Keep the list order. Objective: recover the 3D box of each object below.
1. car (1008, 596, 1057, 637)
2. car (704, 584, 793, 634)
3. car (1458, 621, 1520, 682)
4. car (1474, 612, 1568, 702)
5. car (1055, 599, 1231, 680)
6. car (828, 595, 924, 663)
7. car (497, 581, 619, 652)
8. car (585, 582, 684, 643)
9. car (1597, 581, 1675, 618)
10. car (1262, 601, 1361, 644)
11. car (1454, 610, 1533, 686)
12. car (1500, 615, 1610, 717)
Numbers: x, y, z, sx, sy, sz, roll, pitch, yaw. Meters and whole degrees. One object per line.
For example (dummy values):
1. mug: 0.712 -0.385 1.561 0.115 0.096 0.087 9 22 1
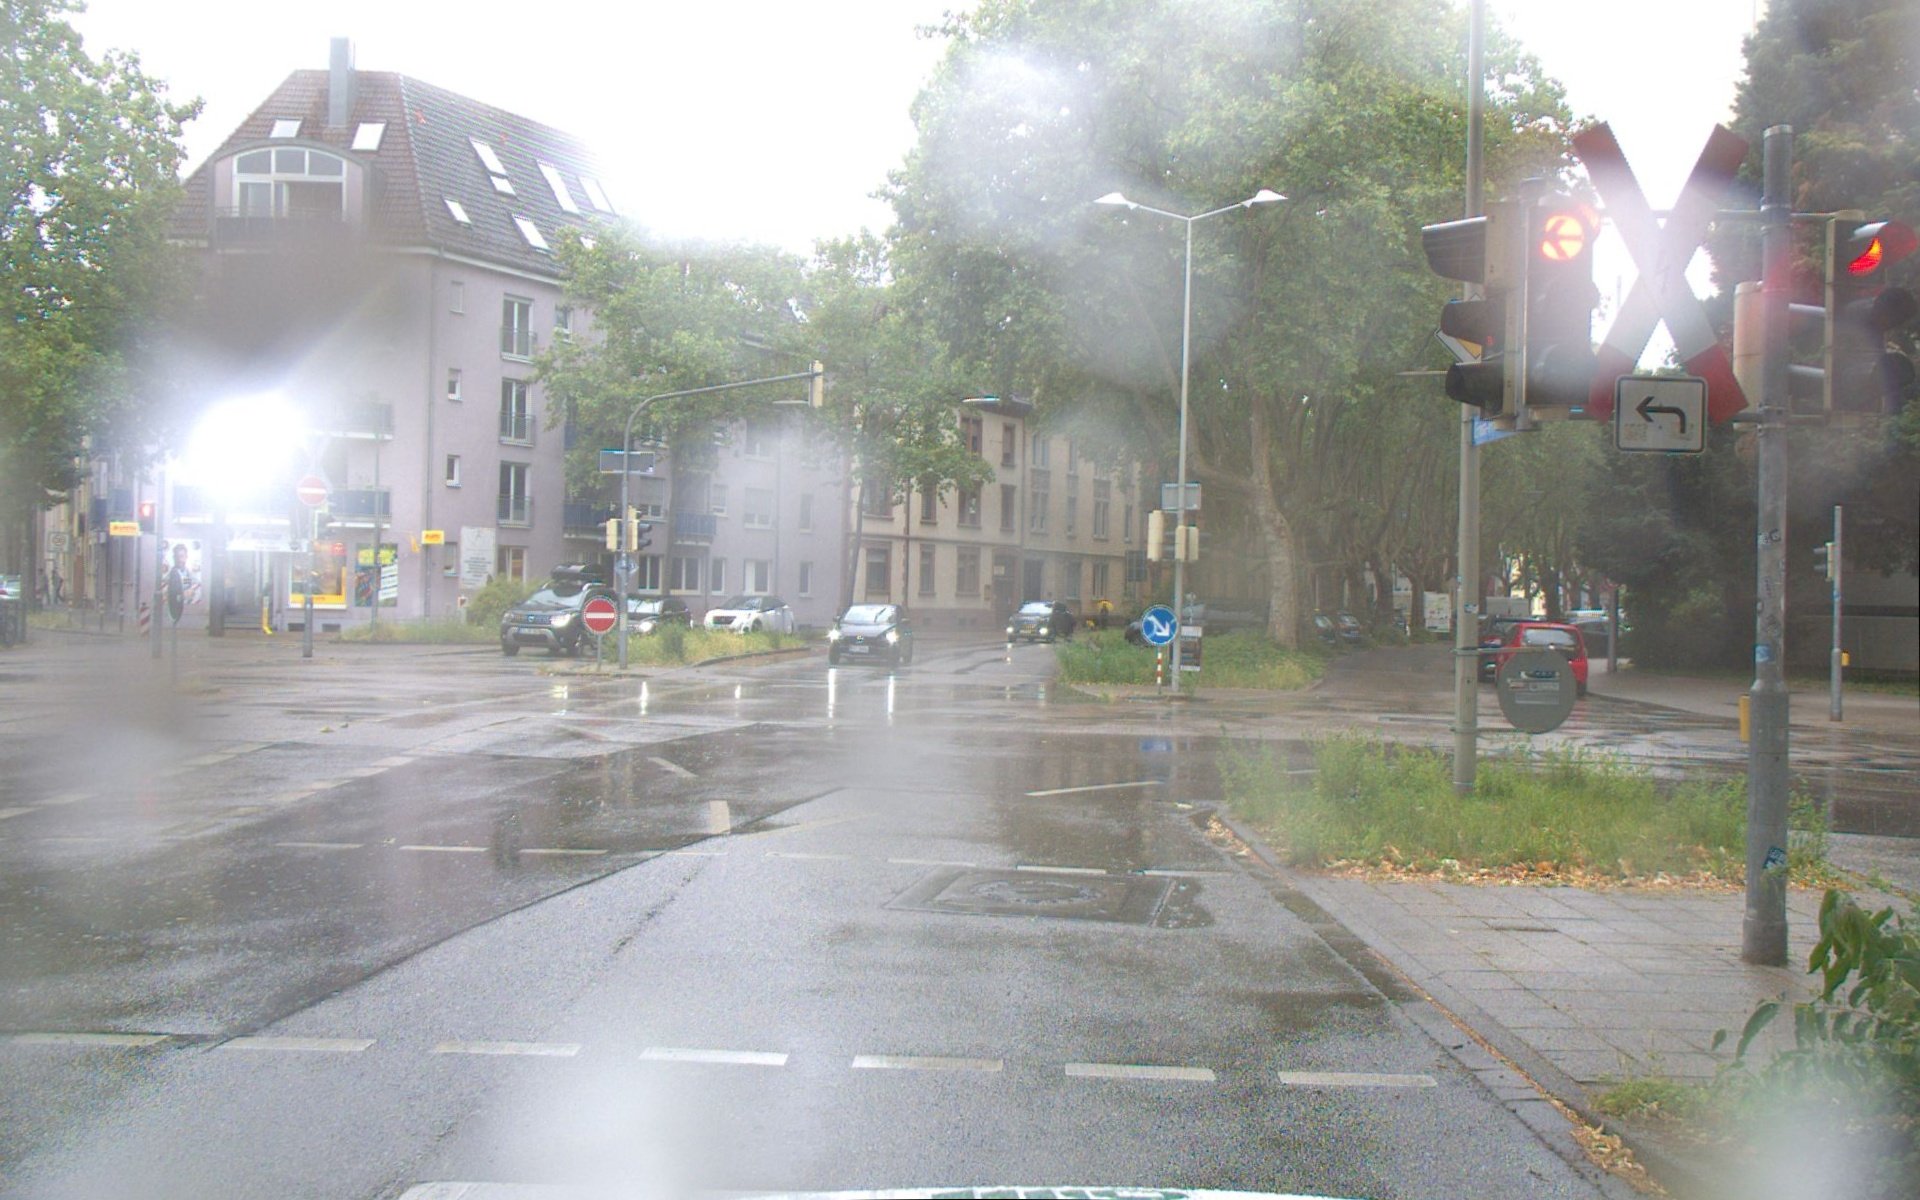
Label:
1. car: 2.935 0.644 66.477 1.568 1.579 3.563 0 0 9
2. car: -6.929 0.271 54.582 1.641 1.579 4.202 0 0 11
3. car: 19.092 1.822 59.838 1.951 2.049 4.003 0 0 15
4. car: 13.860 1.360 41.054 1.951 2.049 4.003 0 0 15
5. car: 3.671 0.772 33.039 3.405 1.550 1.521 0 0 8
6. car: -2.007 0.670 40.523 1.568 1.579 3.563 0 0 10
7. car: -9.331 0.356 38.625 1.688 1.579 3.562 -1 0 5
8. car: -8.771 0.313 44.808 1.688 1.579 3.562 -1 0 5
9. car: 37.786 -0.041 92.525 3.903 2.049 1.708 0 0 19
10. car: 13.986 0.887 65.784 3.537 1.646 1.679 0 0 28
11. car: 15.456 1.350 48.074 1.951 2.049 4.003 0 0 15
12. car: 13.109 1.395 36.637 1.951 2.049 4.003 0 0 15
